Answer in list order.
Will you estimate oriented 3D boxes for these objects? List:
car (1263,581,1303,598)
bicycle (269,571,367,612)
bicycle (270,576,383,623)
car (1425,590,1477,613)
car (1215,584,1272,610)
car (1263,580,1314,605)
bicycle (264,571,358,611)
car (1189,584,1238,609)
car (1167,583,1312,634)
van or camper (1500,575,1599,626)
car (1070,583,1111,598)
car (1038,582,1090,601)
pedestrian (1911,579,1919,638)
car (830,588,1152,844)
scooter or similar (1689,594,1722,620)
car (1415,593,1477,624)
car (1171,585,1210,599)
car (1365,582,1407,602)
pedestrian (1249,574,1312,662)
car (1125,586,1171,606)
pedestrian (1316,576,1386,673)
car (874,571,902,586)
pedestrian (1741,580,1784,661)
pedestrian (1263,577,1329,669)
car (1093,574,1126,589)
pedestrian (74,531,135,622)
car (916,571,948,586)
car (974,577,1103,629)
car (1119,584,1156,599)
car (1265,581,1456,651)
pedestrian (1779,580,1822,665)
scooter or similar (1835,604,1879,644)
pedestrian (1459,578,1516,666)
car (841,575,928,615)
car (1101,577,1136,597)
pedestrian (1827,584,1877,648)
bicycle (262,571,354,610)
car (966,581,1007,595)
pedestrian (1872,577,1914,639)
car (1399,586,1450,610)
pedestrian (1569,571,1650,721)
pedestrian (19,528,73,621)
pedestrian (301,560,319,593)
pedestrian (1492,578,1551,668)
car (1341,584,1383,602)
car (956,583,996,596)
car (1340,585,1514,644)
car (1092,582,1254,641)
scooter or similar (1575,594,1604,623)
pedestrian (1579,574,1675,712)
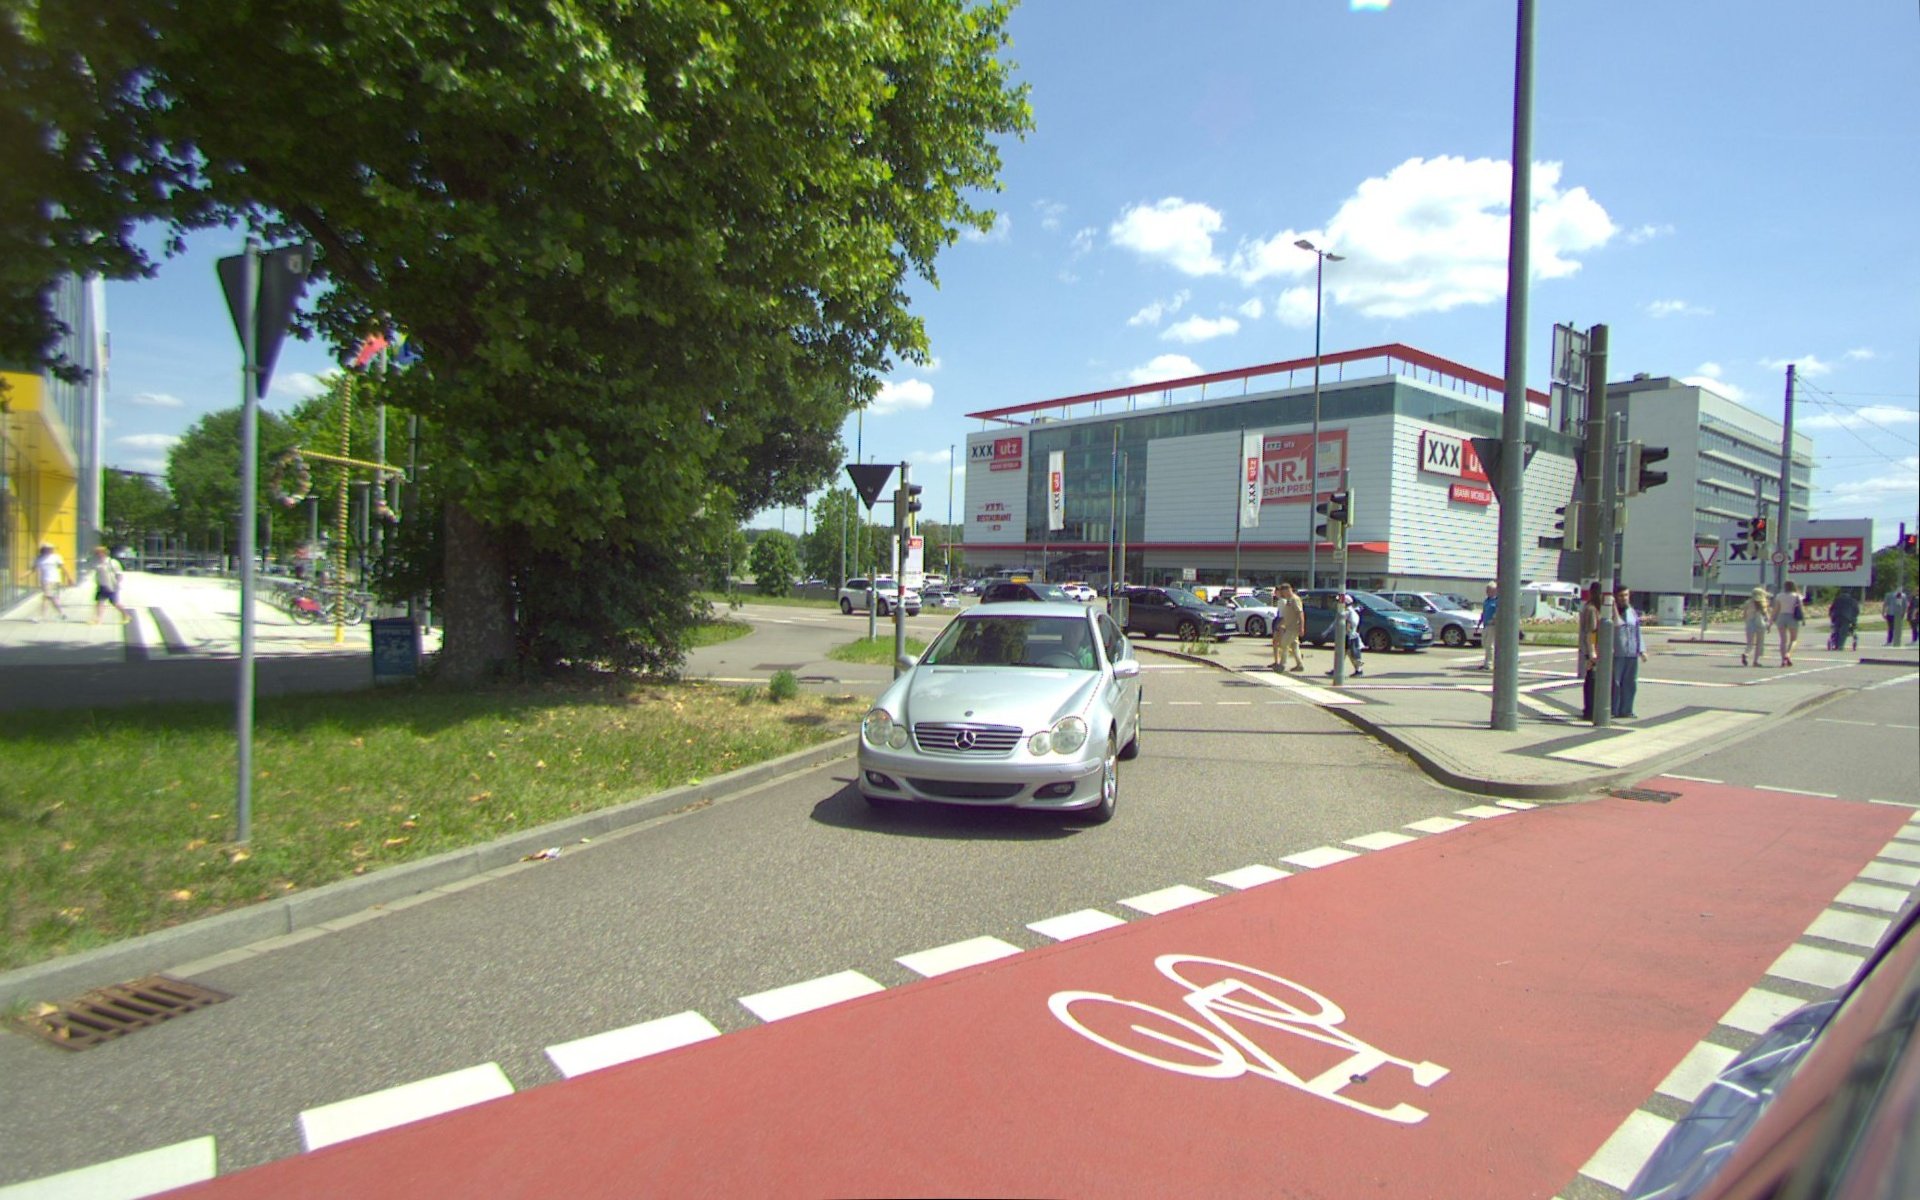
[{"bbox_3d":[34.843,-1.148,109.095,4.440,1.714,1.997,0,1,-40],"label":"car"},{"bbox_3d":[-19.624,-0.274,30.993,0.798,1.214,2.401,1,1,36],"label":"bicycle"},{"bbox_3d":[-16.592,-0.024,26.591,0.798,1.159,2.401,1,1,36],"label":"bicycle"},{"bbox_3d":[39.031,0.130,80.400,4.421,1.738,1.999,-1,1,-38],"label":"car"},{"bbox_3d":[23.421,-0.267,83.612,4.874,2.039,1.999,-1,1,-38],"label":"car"},{"bbox_3d":[26.083,-0.593,80.269,4.404,1.936,1.590,0,1,-37],"label":"car"},{"bbox_3d":[-20.491,-0.284,32.003,0.798,1.214,2.401,1,1,36],"label":"bicycle"},{"bbox_3d":[21.358,-0.347,85.320,3.927,2.039,1.999,-1,1,-38],"label":"car"},{"bbox_3d":[8.579,0.229,31.389,1.769,1.415,4.235,-3,2,-33],"label":"car"},{"bbox_3d":[36.980,-0.038,63.397,7.472,2.983,2.716,-1,1,-37],"label":"van or camper"},{"bbox_3d":[12.979,-0.975,100.562,3.924,1.457,1.854,0,1,-36],"label":"car"},{"bbox_3d":[9.762,-0.801,94.854,4.778,1.723,1.854,0,1,-36],"label":"car"},{"bbox_3d":[29.444,0.263,30.681,0.802,1.782,0.786,0,0,39],"label":"pedestrian"},{"bbox_3d":[0.547,0.635,8.051,1.707,1.436,4.303,0,1,14],"label":"car"},{"bbox_3d":[35.238,0.328,47.836,1.253,1.140,0.481,-3,1,-11],"label":"scooter or similar"},{"bbox_3d":[33.398,0.546,69.463,4.369,2.039,2.000,0,1,-37],"label":"car"},{"bbox_3d":[22.909,-0.792,100.516,3.928,1.326,1.693,0,1,-39],"label":"car"},{"bbox_3d":[42.579,-0.816,101.098,4.437,1.946,1.999,0,1,-38],"label":"car"},{"bbox_3d":[6.271,0.338,19.832,0.834,1.680,0.799,0,1,-23],"label":"pedestrian"},{"bbox_3d":[15.712,-0.340,84.675,3.934,1.565,1.850,0,1,-44],"label":"car"},{"bbox_3d":[6.971,0.419,18.047,0.834,1.680,0.799,0,1,-18],"label":"pedestrian"},{"bbox_3d":[-10.098,-2.960,142.330,3.701,2.039,1.655,0,1,-38],"label":"car"},{"bbox_3d":[16.231,0.395,20.467,0.600,1.599,0.528,0,1,-36],"label":"pedestrian"},{"bbox_3d":[6.292,0.408,18.960,0.834,1.680,0.799,0,1,-23],"label":"pedestrian"},{"bbox_3d":[19.454,-2.390,131.631,4.207,2.039,1.850,0,1,-38],"label":"car"},{"bbox_3d":[-19.636,-0.547,23.236,0.723,2.039,0.795,1,1,19],"label":"pedestrian"},{"bbox_3d":[-3.729,-2.846,134.713,3.932,2.039,1.996,0,1,-42],"label":"car"},{"bbox_3d":[2.524,0.053,33.667,1.829,1.604,4.413,0,1,-37],"label":"car"},{"bbox_3d":[18.512,-0.883,105.402,3.928,1.546,1.693,0,1,-39],"label":"car"},{"bbox_3d":[9.857,0.321,25.158,1.964,1.575,3.997,-1,2,-38],"label":"car"},{"bbox_3d":[16.988,0.434,20.454,0.628,1.687,0.528,0,1,-36],"label":"pedestrian"},{"bbox_3d":[24.278,0.631,27.389,0.846,1.044,0.692,0,1,-34],"label":"scooter or similar"},{"bbox_3d":[10.347,0.411,19.847,0.846,1.658,0.605,-1,1,-26],"label":"pedestrian"},{"bbox_3d":[-3.437,-0.256,45.418,1.964,1.660,4.079,0,1,-38],"label":"car"},{"bbox_3d":[16.762,-1.356,107.293,3.539,2.039,1.723,0,1,-39],"label":"car"},{"bbox_3d":[23.907,0.414,27.123,0.928,1.693,0.785,0,0,-33],"label":"pedestrian"},{"bbox_3d":[-21.148,-0.319,32.863,0.798,1.214,2.401,1,1,36],"label":"bicycle"},{"bbox_3d":[2.868,-1.309,108.352,4.176,1.430,1.860,0,1,-36],"label":"car"},{"bbox_3d":[28.928,0.237,31.381,0.782,1.888,0.806,0,0,-36],"label":"pedestrian"},{"bbox_3d":[37.956,-0.198,82.638,4.437,1.918,1.998,0,1,-38],"label":"car"},{"bbox_3d":[7.693,0.511,11.981,0.723,1.704,0.616,1,1,40],"label":"pedestrian"},{"bbox_3d":[-20.534,-0.567,22.750,0.718,2.039,0.801,1,1,-28],"label":"pedestrian"},{"bbox_3d":[-31.475,-1.146,48.982,0.766,1.606,0.571,2,1,45],"label":"pedestrian"},{"bbox_3d":[10.733,0.417,19.337,0.846,1.658,0.609,-1,1,-26],"label":"pedestrian"},{"bbox_3d":[40.804,-0.716,102.731,4.437,1.714,1.999,0,1,-38],"label":"car"},{"bbox_3d":[1.743,-1.157,110.196,4.176,1.430,1.860,-1,1,-36],"label":"car"},{"bbox_3d":[12.386,0.334,27.028,1.771,1.414,3.833,0,1,-39],"label":"car"},{"bbox_3d":[6.060,0.269,29.192,1.821,1.461,4.409,-1,3,-41],"label":"car"},{"bbox_3d":[28.809,0.369,46.325,1.252,1.307,0.481,0,0,-21],"label":"scooter or similar"},{"bbox_3d":[8.267,0.499,12.546,0.893,1.626,0.756,1,1,41],"label":"pedestrian"}]
